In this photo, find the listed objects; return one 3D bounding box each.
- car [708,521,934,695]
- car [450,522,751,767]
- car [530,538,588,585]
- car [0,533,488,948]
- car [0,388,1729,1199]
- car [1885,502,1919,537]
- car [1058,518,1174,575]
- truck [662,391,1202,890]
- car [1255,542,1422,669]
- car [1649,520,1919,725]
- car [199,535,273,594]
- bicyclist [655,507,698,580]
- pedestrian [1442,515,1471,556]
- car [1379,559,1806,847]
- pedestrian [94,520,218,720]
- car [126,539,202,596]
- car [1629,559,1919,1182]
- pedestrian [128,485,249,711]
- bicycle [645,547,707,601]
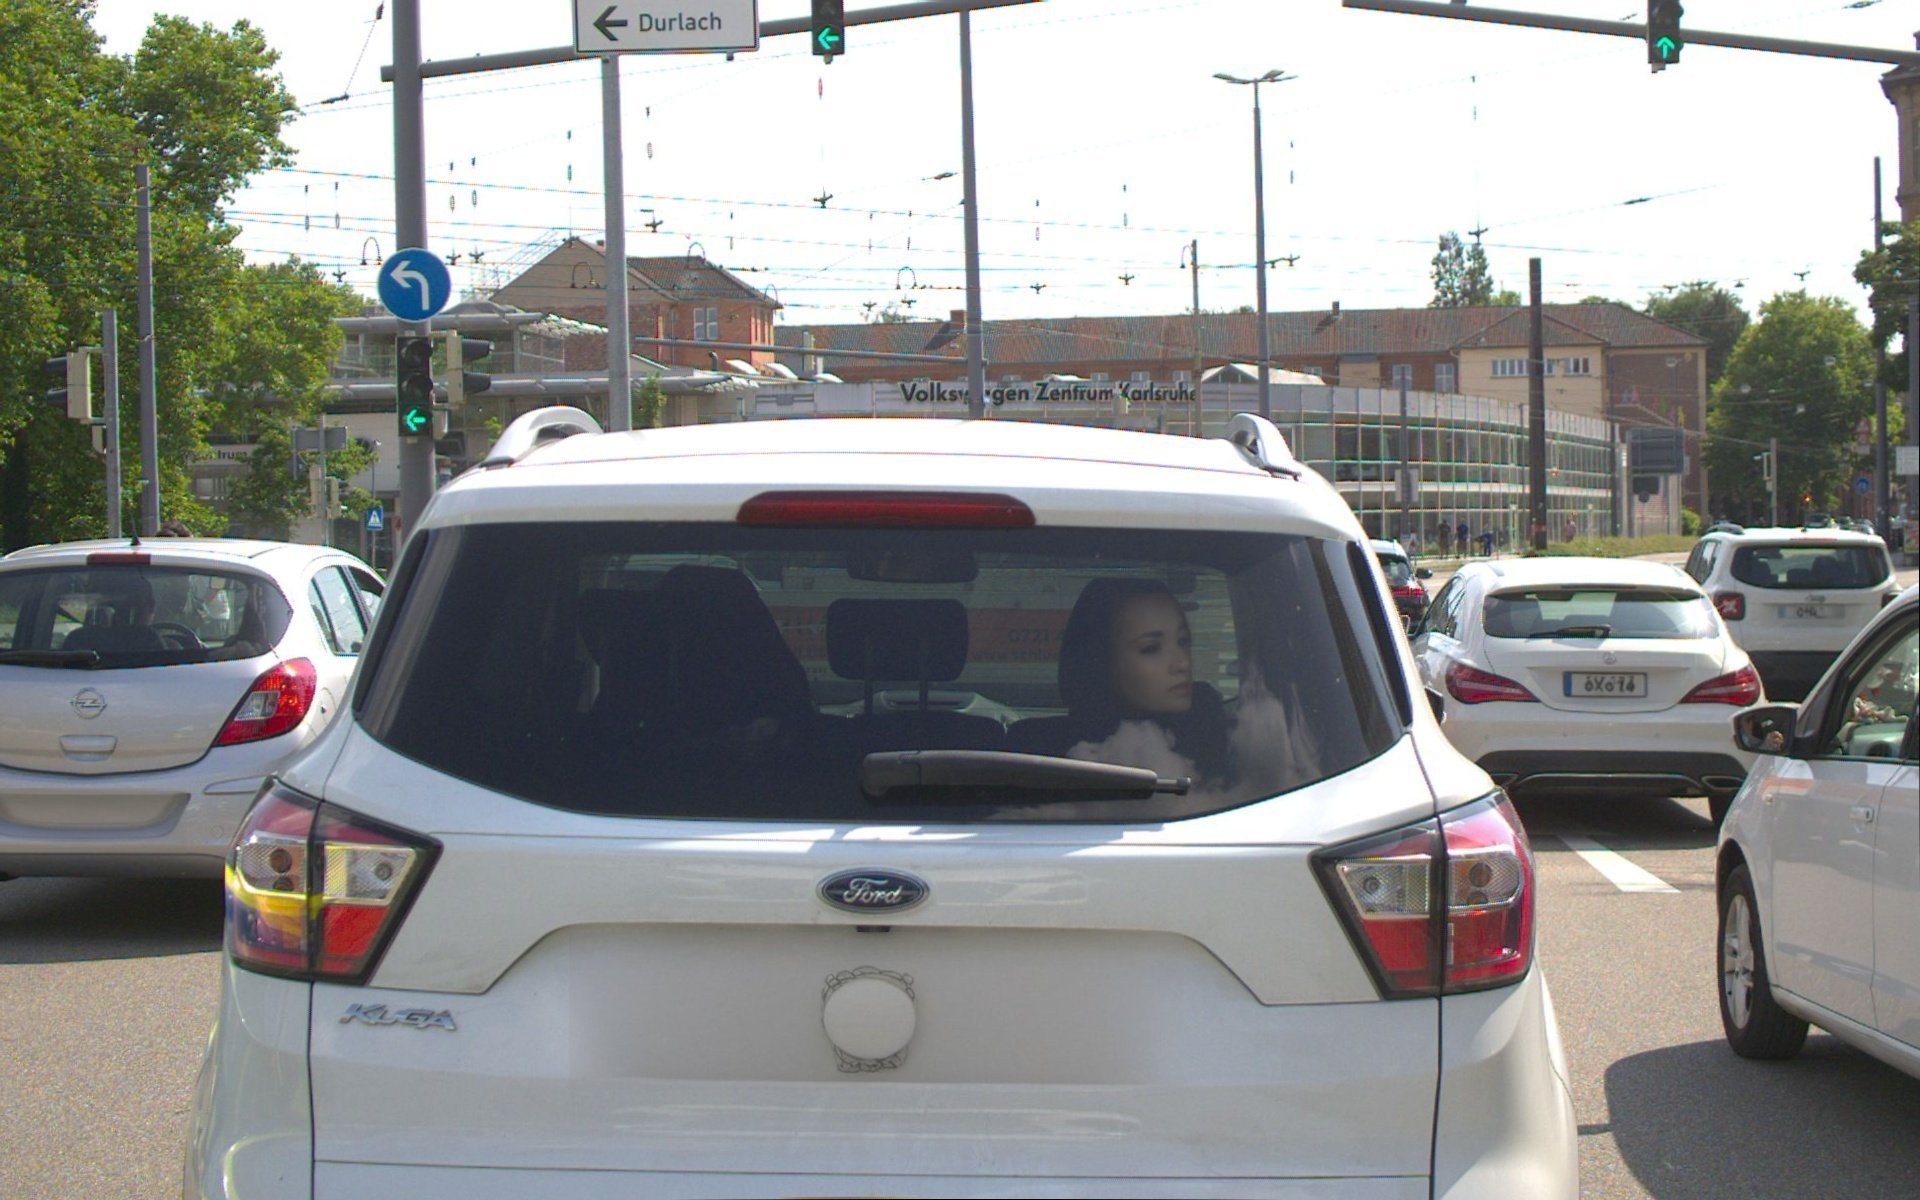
[{"bbox_3d":[-1.355,0.039,33.446,2.039,1.573,4.540,0,1,-2],"label":"car"},{"bbox_3d":[-2.474,0.244,24.618,1.762,1.563,4.527,-1,1,-1],"label":"car"},{"bbox_3d":[-14.213,-1.349,121.999,1.818,1.528,3.917,-3,0,-5],"label":"car"},{"bbox_3d":[-3.176,0.475,14.287,1.848,1.469,4.000,-1,1,0],"label":"car"},{"bbox_3d":[-0.014,0.579,5.598,1.827,1.658,3.955,0,1,3],"label":"car"},{"bbox_3d":[46.591,-3.936,169.017,1.838,1.646,3.996,0,0,20],"label":"car"},{"bbox_3d":[4.282,-1.464,93.691,1.901,1.456,3.964,-2,1,22],"label":"car"},{"bbox_3d":[-0.011,0.125,18.075,2.339,2.148,5.851,1,1,2],"label":"truck"},{"bbox_3d":[4.426,0.039,40.174,1.850,1.414,3.678,0,1,7],"label":"car"},{"bbox_3d":[7.095,0.162,29.752,1.837,1.646,3.999,0,0,6],"label":"car"},{"bbox_3d":[-26.004,-1.266,123.649,1.993,2.007,4.231,-3,0,-5],"label":"car"},{"bbox_3d":[-6.631,-1.325,80.427,0.760,1.677,0.760,-2,1,14],"label":"bicyclist"},{"bbox_3d":[20.851,-2.712,144.277,0.877,1.731,0.874,1,0,35],"label":"pedestrian"},{"bbox_3d":[3.364,0.490,18.922,1.850,1.414,3.679,0,1,3],"label":"car"},{"bbox_3d":[-6.757,0.163,28.920,0.847,1.642,0.692,-1,0,-1],"label":"pedestrian"},{"bbox_3d":[-28.664,-1.138,123.906,1.967,1.930,4.231,-3,0,-5],"label":"car"},{"bbox_3d":[3.031,0.622,9.033,1.649,1.417,4.001,-1,1,-2],"label":"car"},{"bbox_3d":[-6.666,-0.018,29.727,0.847,1.910,0.692,-1,0,-1],"label":"pedestrian"},{"bbox_3d":[-6.630,-0.621,80.382,0.760,1.188,2.149,-2,1,14],"label":"bicycle"}]
